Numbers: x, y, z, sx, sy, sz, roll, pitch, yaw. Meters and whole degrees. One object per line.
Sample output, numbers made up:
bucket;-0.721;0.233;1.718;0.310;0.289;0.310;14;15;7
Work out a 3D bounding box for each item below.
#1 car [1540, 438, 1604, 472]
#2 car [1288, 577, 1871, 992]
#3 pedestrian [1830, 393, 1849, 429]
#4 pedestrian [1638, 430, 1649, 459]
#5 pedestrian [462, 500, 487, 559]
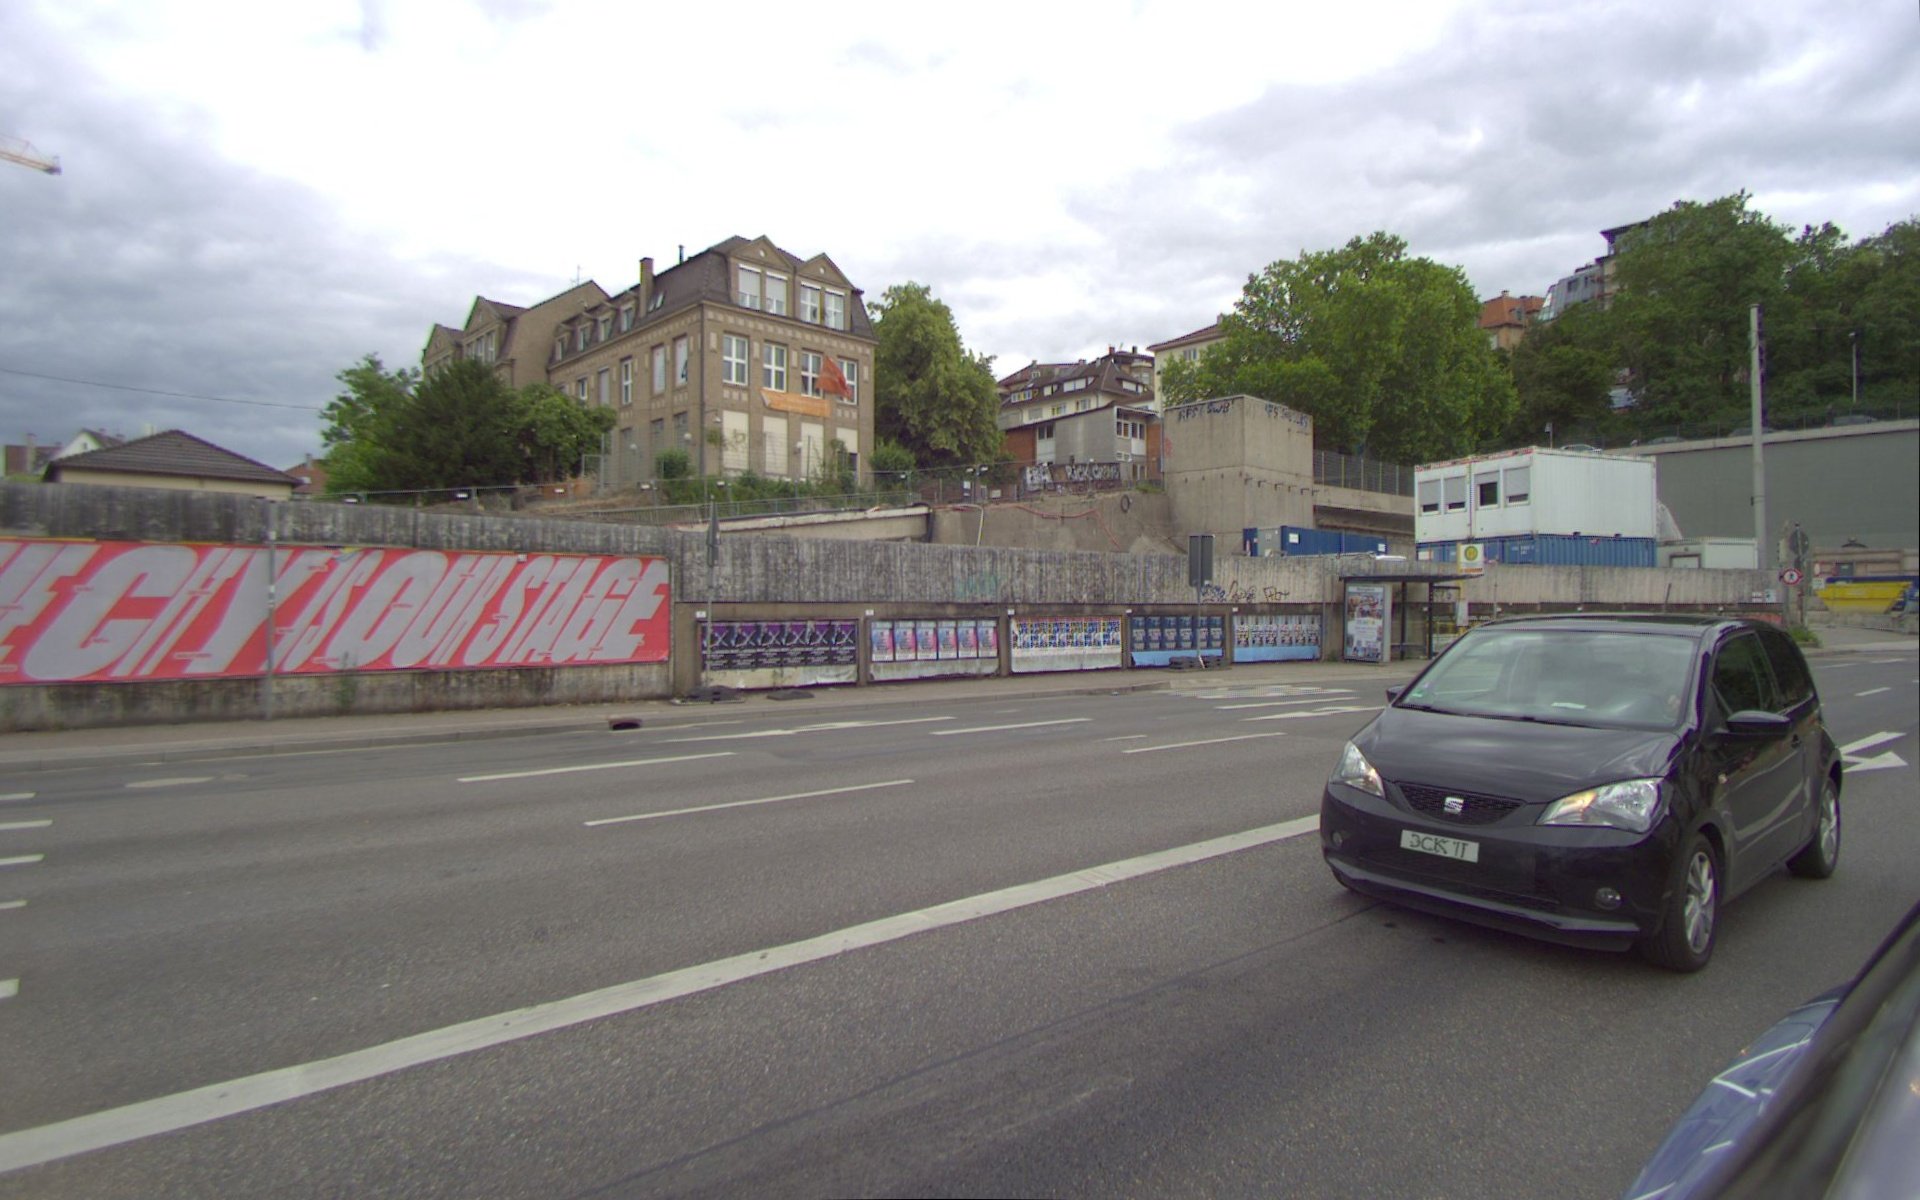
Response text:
car;47.621;-11.273;78.801;3.986;2.039;1.969;0;0;43
car;3.602;0.686;5.602;3.813;1.515;1.666;0;-1;-41
pedestrian;56.653;-12.173;65.199;0.849;2.039;0.891;-1;-1;44
pedestrian;50.951;-11.587;75.448;0.580;2.039;0.568;0;0;45
pedestrian;-17.395;-2.519;36.264;0.644;2.039;0.656;0;0;44
